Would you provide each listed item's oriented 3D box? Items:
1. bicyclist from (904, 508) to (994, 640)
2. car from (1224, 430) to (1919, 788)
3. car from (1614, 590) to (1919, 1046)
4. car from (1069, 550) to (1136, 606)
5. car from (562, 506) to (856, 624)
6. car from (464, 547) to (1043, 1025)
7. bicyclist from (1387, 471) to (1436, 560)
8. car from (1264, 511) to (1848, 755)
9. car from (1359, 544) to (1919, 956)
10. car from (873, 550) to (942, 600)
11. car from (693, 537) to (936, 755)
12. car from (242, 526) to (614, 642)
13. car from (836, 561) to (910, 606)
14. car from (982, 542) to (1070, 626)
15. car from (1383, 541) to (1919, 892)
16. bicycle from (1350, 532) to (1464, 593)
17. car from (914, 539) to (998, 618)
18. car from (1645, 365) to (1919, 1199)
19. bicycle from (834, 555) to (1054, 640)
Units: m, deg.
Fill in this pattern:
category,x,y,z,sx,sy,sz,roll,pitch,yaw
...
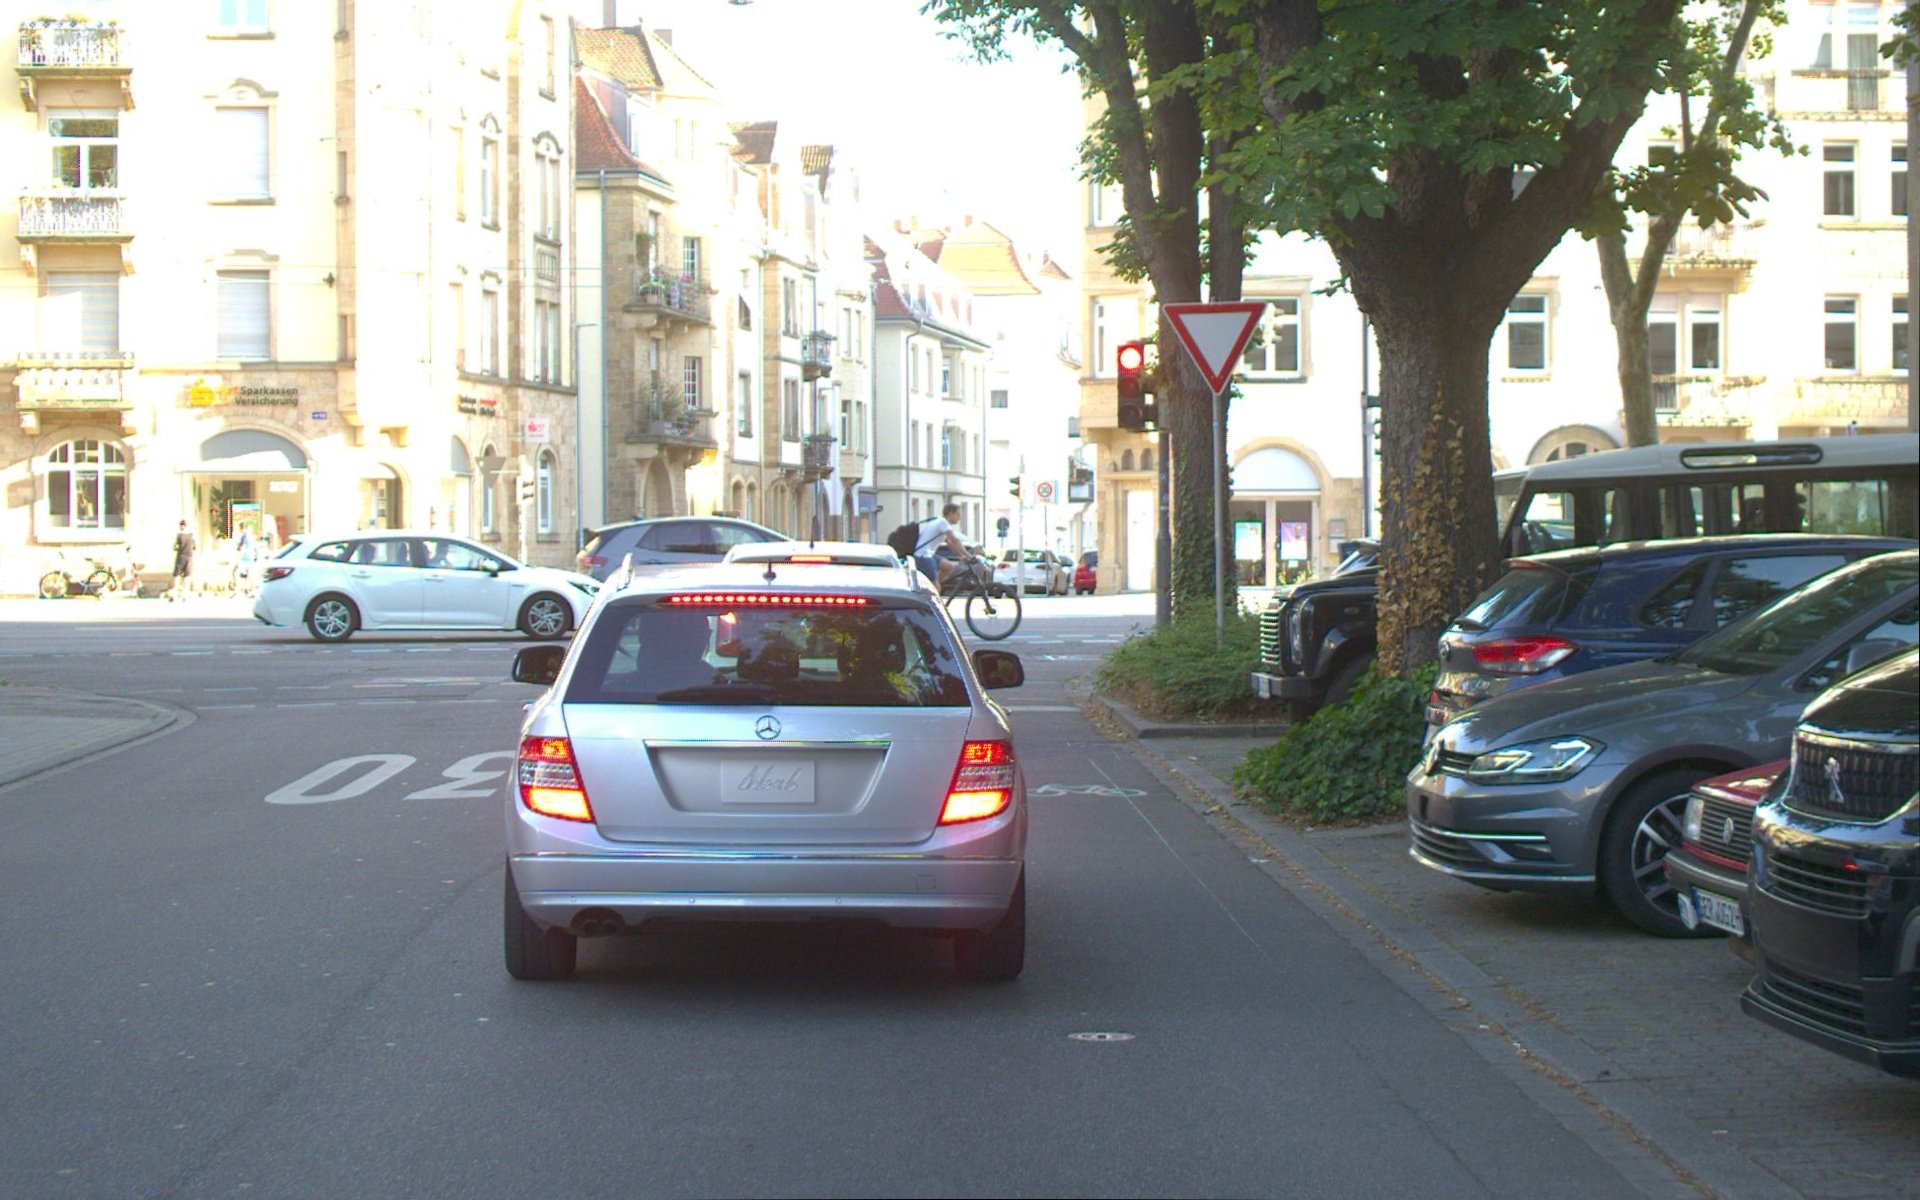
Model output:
category,x,y,z,sx,sy,sz,roll,pitch,yaw
bicyclist,-0.138,-0.341,43.517,0.997,1.648,0.807,0,1,-11
car,3.996,0.027,21.288,4.464,2.029,1.701,-1,1,-4
car,4.399,0.608,11.214,4.135,1.311,1.630,-1,1,-5
car,4.703,-0.735,113.070,1.835,1.738,3.999,0,2,8
car,-3.533,-0.505,48.018,3.965,1.576,1.740,-1,1,-8
car,-0.734,0.543,12.890,1.777,1.447,4.549,0,1,-2
bicyclist,9.378,-1.754,71.429,0.891,1.853,0.637,0,1,-5
car,4.141,0.205,24.228,3.723,1.564,1.709,-1,1,-4
car,3.749,0.511,13.513,4.052,1.447,1.723,-1,1,-4
car,-1.821,-0.882,119.872,1.835,1.657,3.999,0,2,8
car,-1.067,0.270,25.167,1.619,1.442,4.345,0,1,-2
car,-6.890,-0.229,44.593,4.660,1.443,1.740,-1,1,-9
car,-2.849,-0.557,113.582,1.835,1.397,3.999,0,2,8
car,1.893,-0.480,97.027,2.031,2.272,3.999,0,2,8
car,3.954,0.471,15.720,3.723,1.447,1.709,-1,1,-4
bicycle,9.283,-0.780,71.445,2.256,1.242,0.637,0,1,-5
car,-0.098,-0.665,103.065,2.031,2.272,3.999,0,2,8
car,4.339,0.348,8.657,4.748,1.868,1.898,-1,1,-5
bicycle,-0.204,-0.035,43.501,2.682,1.036,0.807,0,1,-11
